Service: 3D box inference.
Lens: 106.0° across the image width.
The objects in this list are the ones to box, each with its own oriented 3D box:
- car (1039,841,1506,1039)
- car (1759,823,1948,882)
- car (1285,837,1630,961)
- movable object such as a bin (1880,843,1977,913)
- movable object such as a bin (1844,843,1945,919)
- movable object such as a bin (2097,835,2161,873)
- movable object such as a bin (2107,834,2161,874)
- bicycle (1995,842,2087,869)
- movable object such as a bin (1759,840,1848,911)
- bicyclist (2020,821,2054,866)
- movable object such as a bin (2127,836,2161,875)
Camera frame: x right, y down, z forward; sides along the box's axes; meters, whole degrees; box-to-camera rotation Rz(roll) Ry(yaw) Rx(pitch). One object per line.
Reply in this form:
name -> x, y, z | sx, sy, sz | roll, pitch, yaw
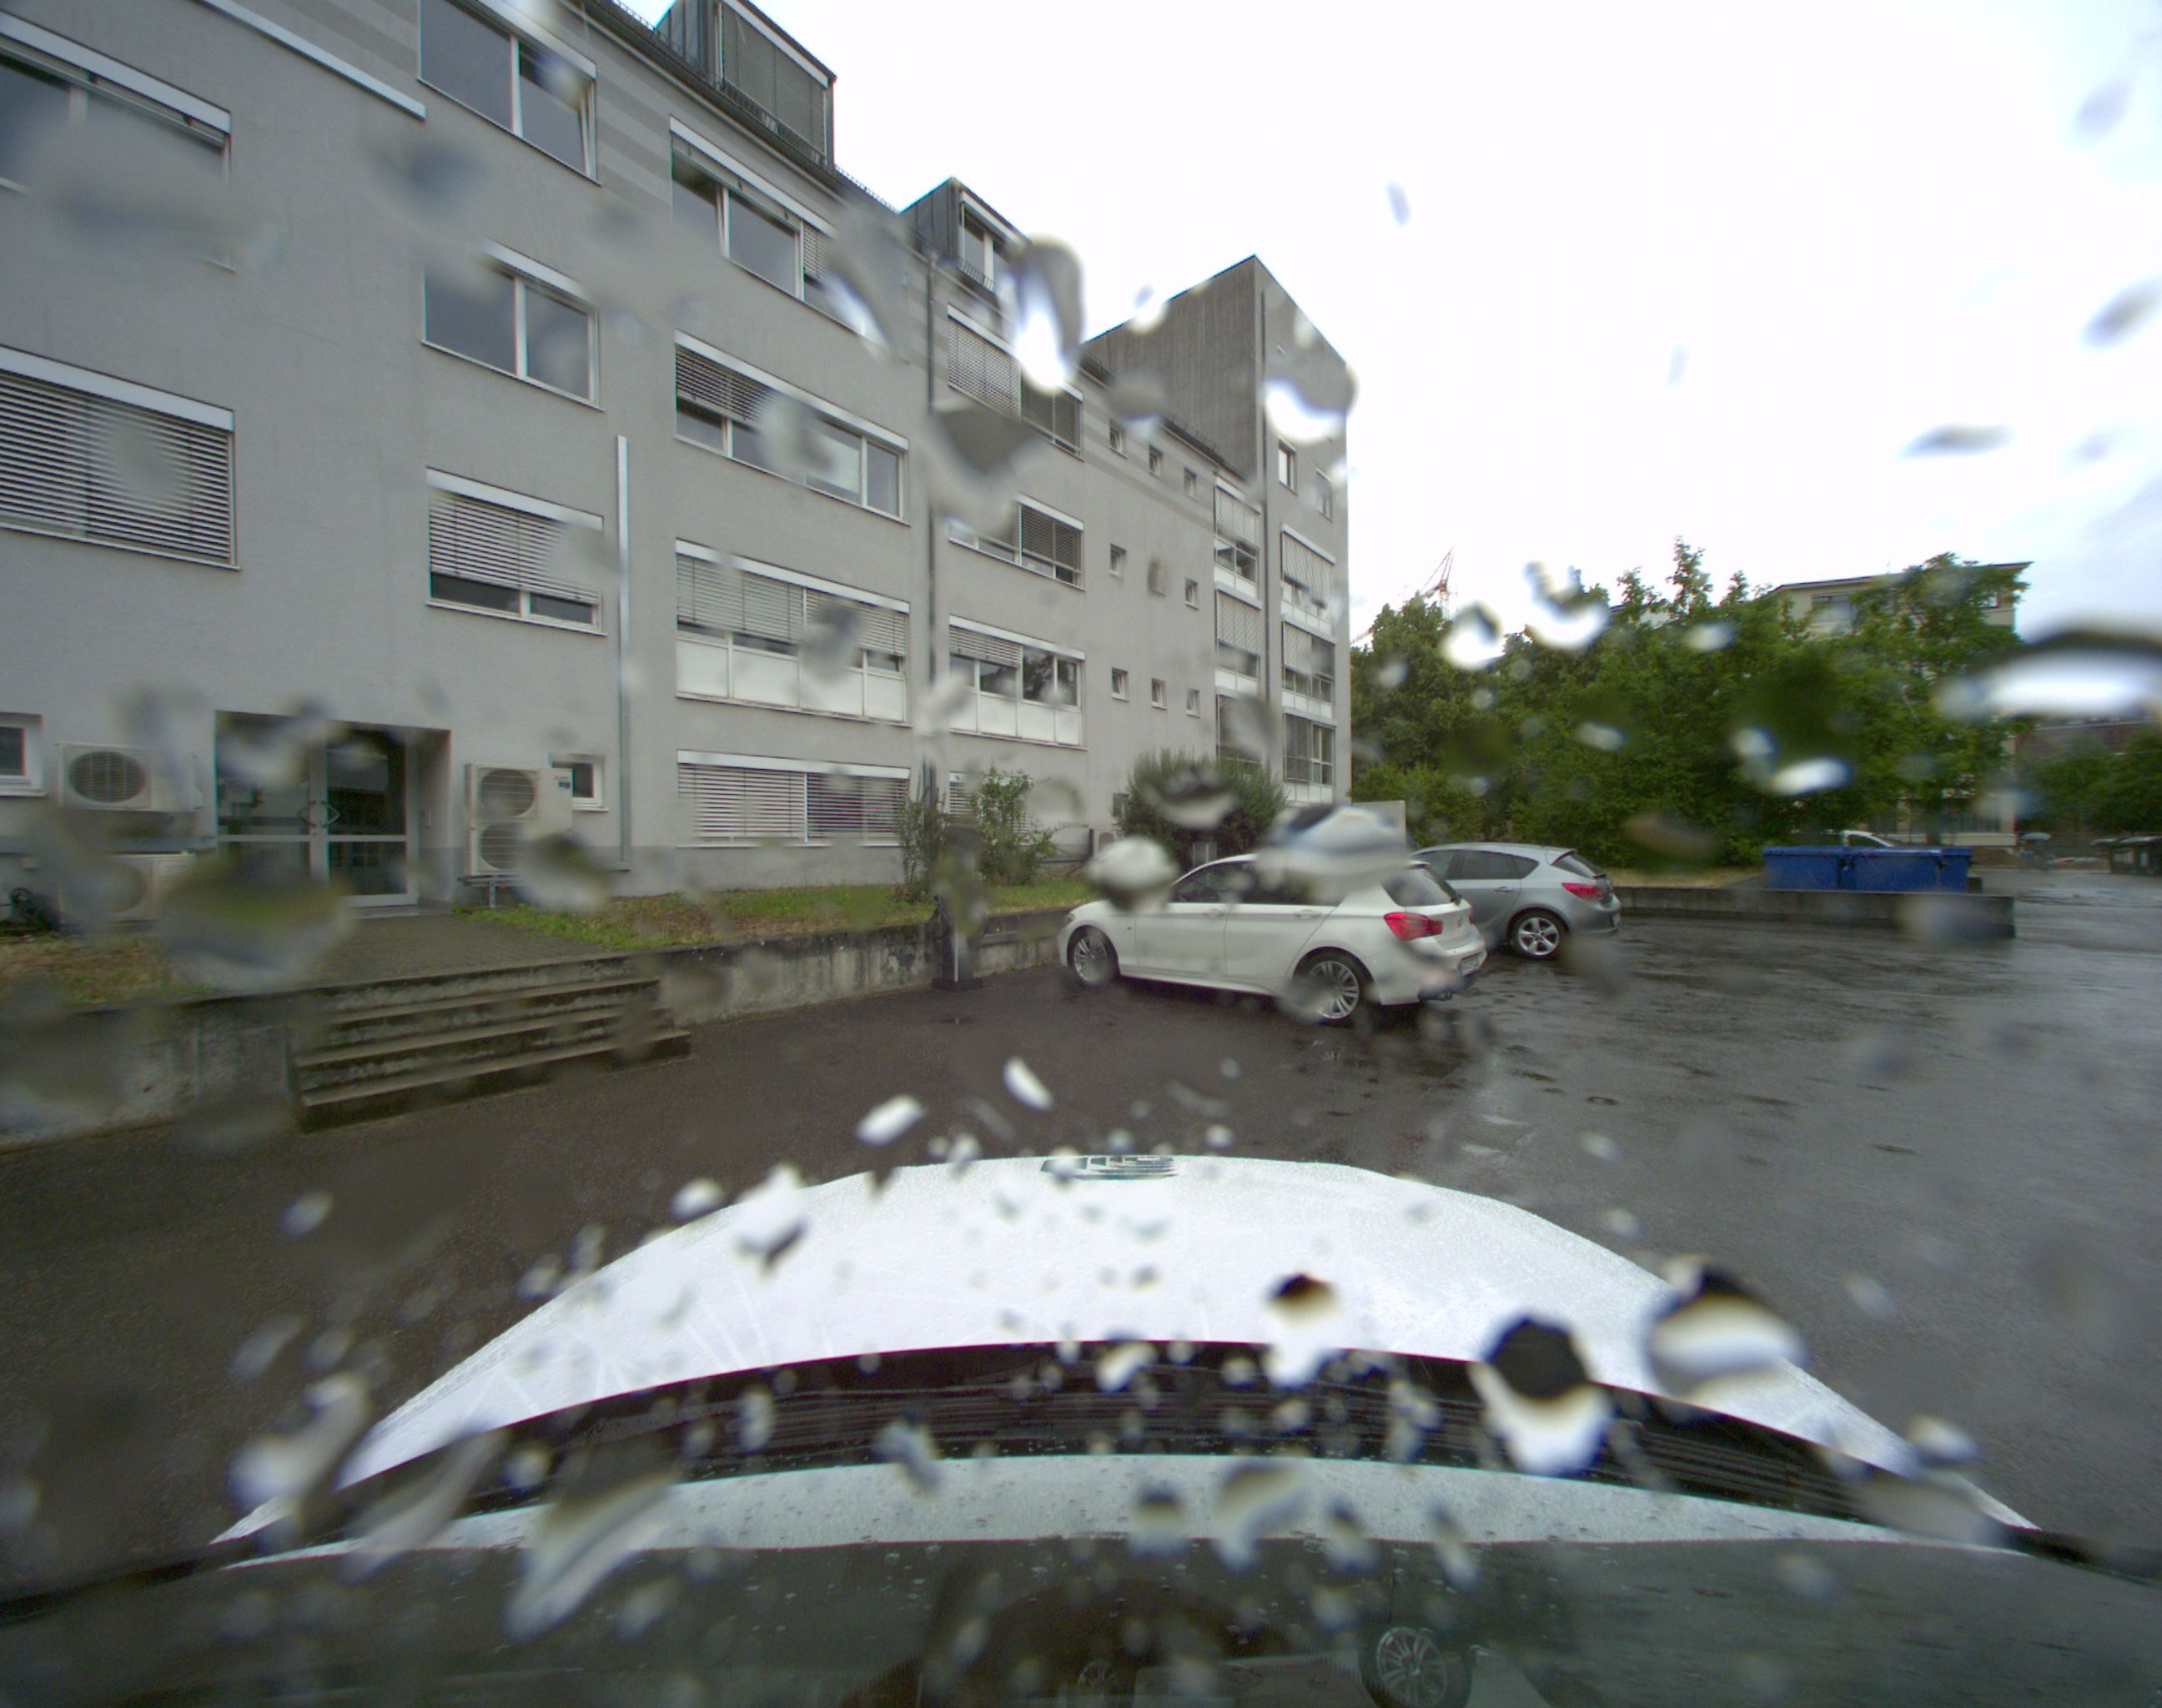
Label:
car -> 1.757, 0.647, 8.264 | 4.167, 1.489, 2.012 | 0, 0, 42
car -> 26.964, 0.029, 28.552 | 2.134, 1.882, 4.641 | 3, -3, -42
car -> 5.362, 0.540, 11.902 | 4.167, 1.489, 2.012 | 0, 0, 42
movable object such as a bin -> 17.450, 0.498, 16.825 | 1.916, 1.358, 1.297 | 2, -3, -45
movable object such as a bin -> 15.741, 0.514, 15.791 | 1.916, 1.358, 1.297 | 2, -3, -45
movable object such as a bin -> 40.898, 0.015, 31.677 | 1.473, 1.448, 1.322 | -2, -2, 41
movable object such as a bin -> 40.003, 0.018, 30.655 | 1.473, 1.448, 1.322 | -2, -2, 41
bicycle -> 43.273, 0.067, 36.740 | 2.710, 1.186, 0.741 | -1, 0, 16
movable object such as a bin -> 14.849, 0.449, 16.721 | 1.982, 1.358, 1.218 | 2, -3, -45
bicyclist -> 43.143, -0.473, 36.768 | 0.701, 2.013, 0.749 | -1, 1, 16
movable object such as a bin -> 38.968, 0.054, 29.418 | 1.173, 1.374, 1.322 | -2, -2, 41
